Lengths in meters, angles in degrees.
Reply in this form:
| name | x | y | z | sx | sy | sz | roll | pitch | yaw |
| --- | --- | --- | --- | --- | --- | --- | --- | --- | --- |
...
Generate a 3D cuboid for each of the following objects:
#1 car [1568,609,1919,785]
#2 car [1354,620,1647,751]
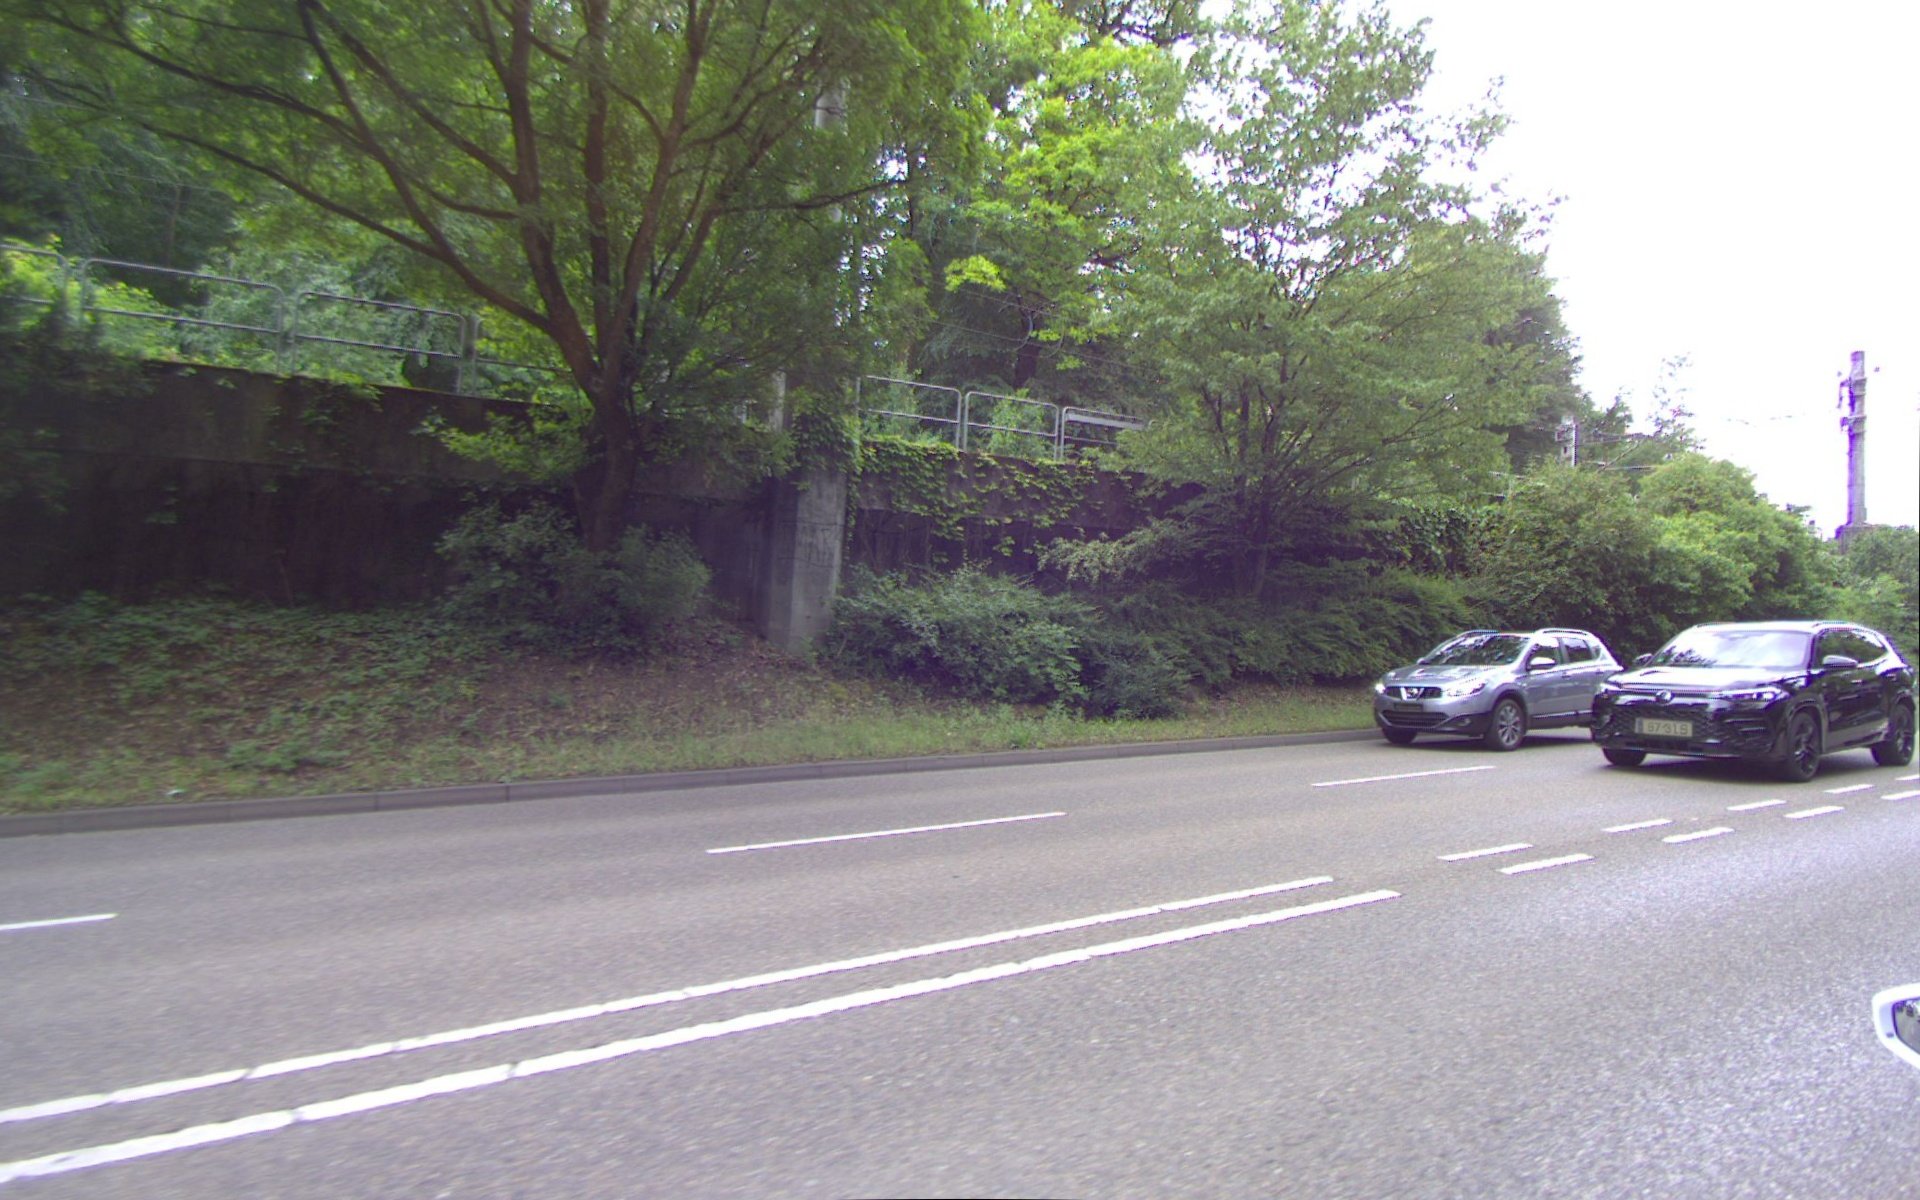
| name | x | y | z | sx | sy | sz | roll | pitch | yaw |
| --- | --- | --- | --- | --- | --- | --- | --- | --- | --- |
| car | 9.279 | 1.008 | 11.598 | 4.773 | 1.683 | 1.802 | 1 | -3 | -30 |
| car | 7.744 | 1.164 | 14.338 | 4.140 | 1.632 | 1.783 | 2 | -3 | -30 |
